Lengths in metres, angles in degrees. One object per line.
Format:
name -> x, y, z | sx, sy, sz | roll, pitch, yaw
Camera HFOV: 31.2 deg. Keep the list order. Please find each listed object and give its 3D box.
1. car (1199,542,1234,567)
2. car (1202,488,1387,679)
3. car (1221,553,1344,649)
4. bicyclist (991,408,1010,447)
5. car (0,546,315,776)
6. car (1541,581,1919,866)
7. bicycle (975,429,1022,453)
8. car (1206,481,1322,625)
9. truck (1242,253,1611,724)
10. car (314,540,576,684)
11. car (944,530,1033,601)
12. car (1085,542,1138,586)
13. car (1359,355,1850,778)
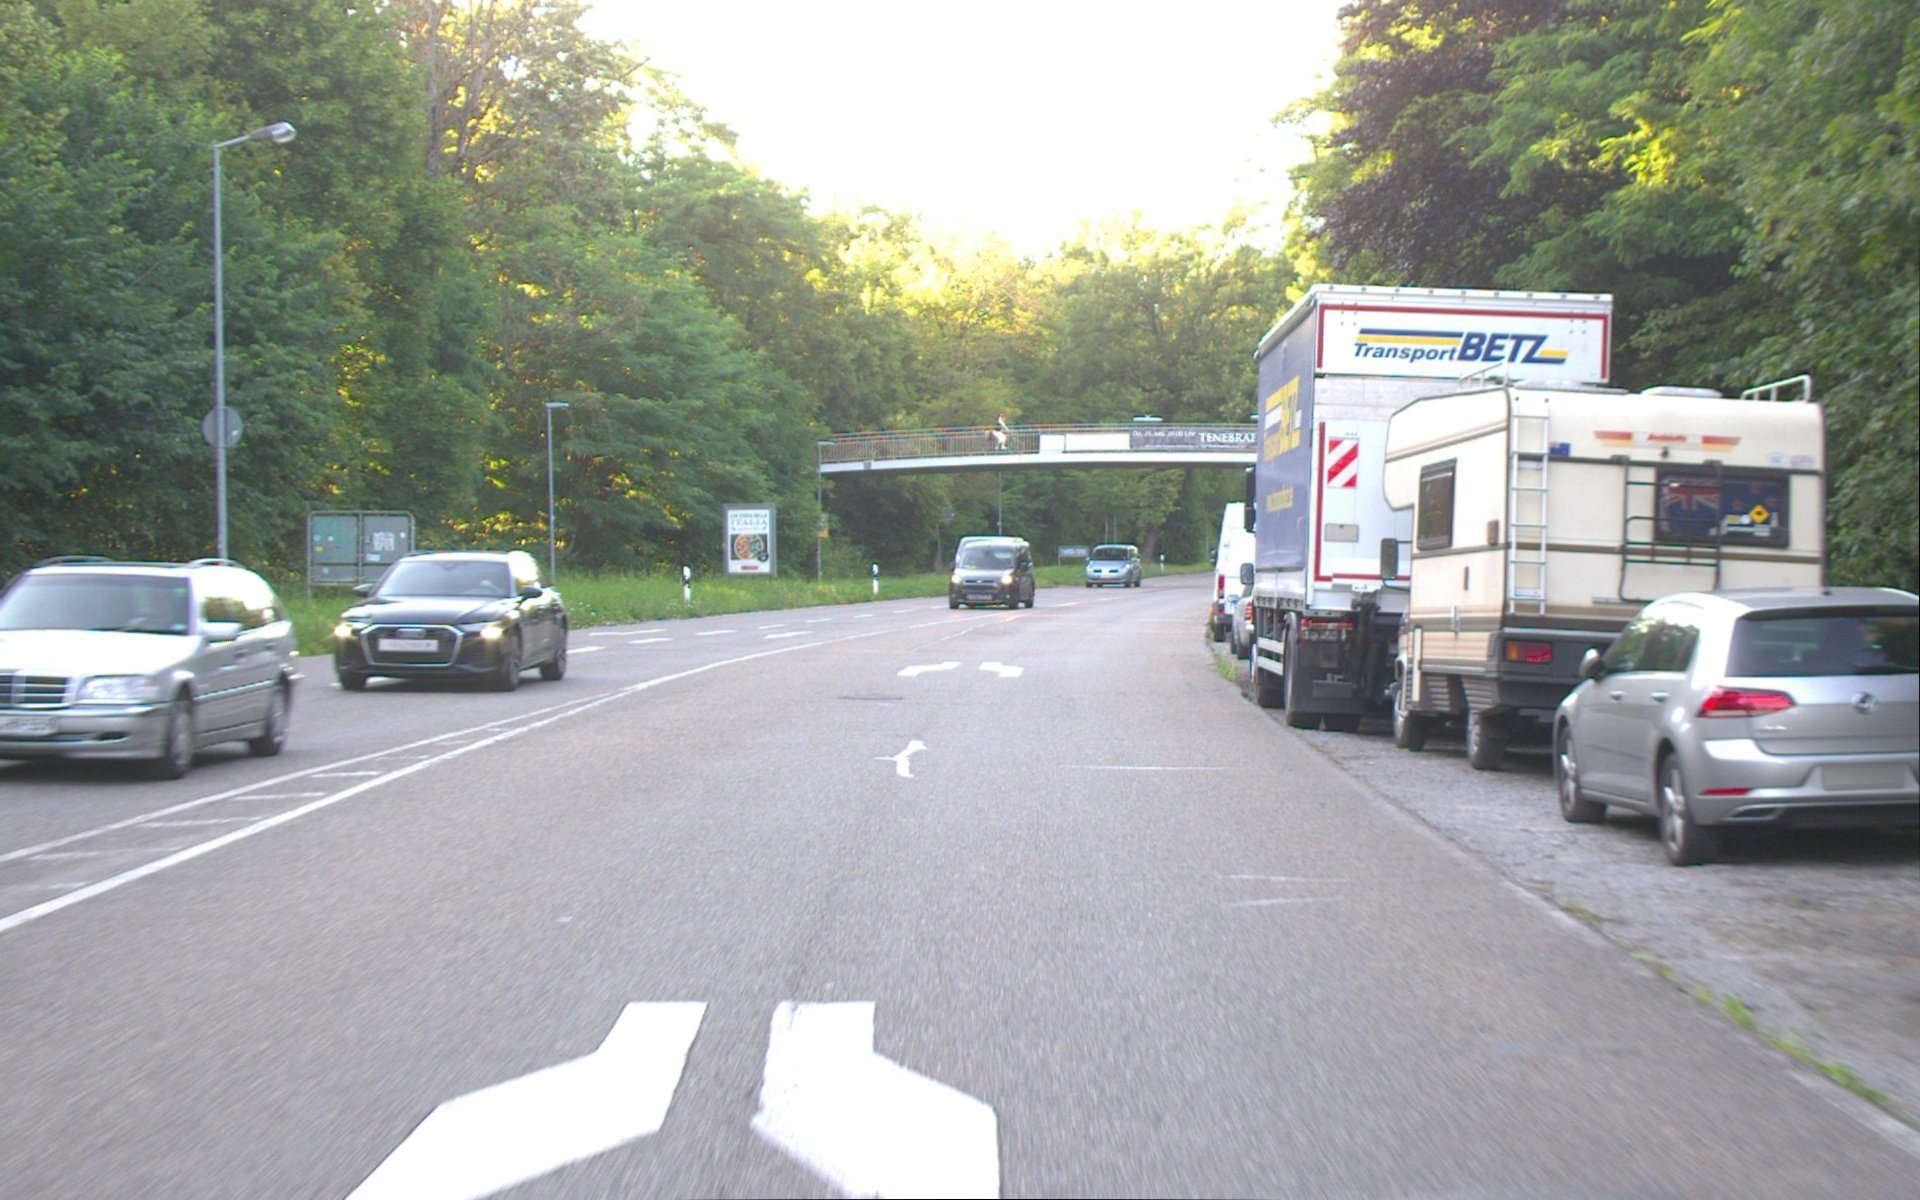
car -> 15.137, -2.671, 202.749 | 1.892, 1.442, 4.109 | 0, 1, 7
car -> 4.126, -0.236, 43.120 | 1.994, 2.182, 4.928 | 2, 1, 3
car -> 5.016, -0.008, 53.907 | 1.683, 1.368, 4.270 | 2, 1, 3
bicyclist -> 1.649, -7.071, 140.798 | 0.665, 1.576, 0.547 | 1, 1, 9
car -> -5.764, 0.344, 23.527 | 1.720, 1.392, 4.375 | 0, 1, 2
car -> 4.538, 0.615, 19.504 | 1.698, 1.401, 4.076 | 0, 1, -1
bicycle -> 1.592, -6.499, 140.809 | 1.845, 0.946, 0.550 | 1, 1, 10
car -> 5.658, -0.896, 64.555 | 1.964, 2.503, 6.015 | 2, 1, 4
truck -> 4.382, -1.052, 34.272 | 2.658, 4.014, 9.722 | 0, 1, 2
car -> -5.554, 0.083, 37.655 | 1.892, 1.435, 4.769 | 1, 1, 3
car -> 0.796, -0.934, 91.819 | 1.844, 1.794, 4.746 | 1, 1, 7
car -> 6.189, -1.497, 139.921 | 1.844, 1.729, 3.999 | 1, 1, 7
car -> 4.726, -0.266, 26.332 | 2.408, 2.848, 5.933 | 1, 1, -2
